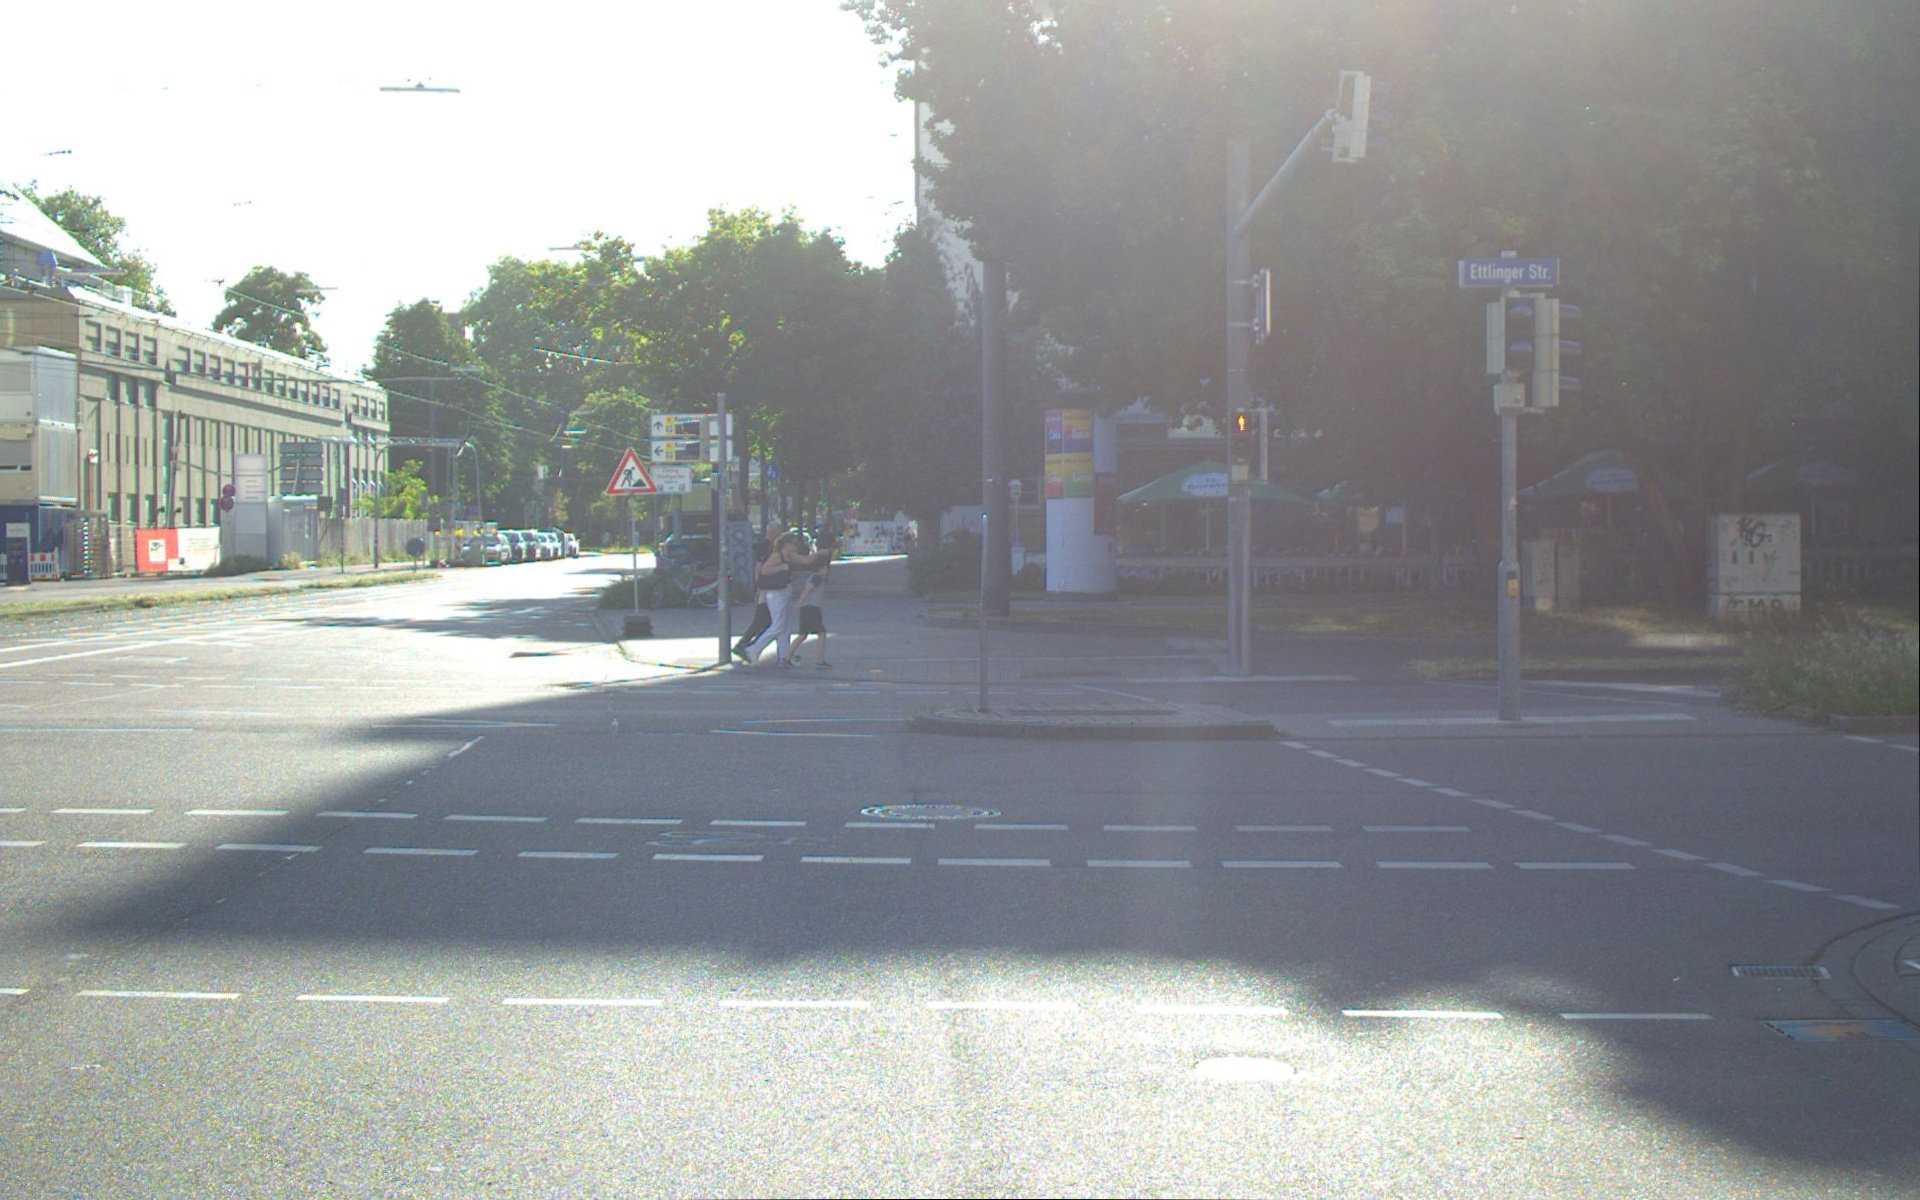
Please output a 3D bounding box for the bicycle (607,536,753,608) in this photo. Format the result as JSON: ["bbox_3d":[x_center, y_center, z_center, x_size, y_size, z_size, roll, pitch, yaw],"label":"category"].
[{"bbox_3d":[-5.464,-0.549,67.139,2.748,1.363,0.630,1,0,11],"label":"bicycle"}]

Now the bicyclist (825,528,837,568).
[{"bbox_3d":[-3.685,-1.491,98.275,0.318,1.123,0.291,-1,1,-1],"label":"bicyclist"}]

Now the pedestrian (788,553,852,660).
[{"bbox_3d":[-1.765,0.076,43.318,0.752,1.328,0.742,0,1,1],"label":"pedestrian"}]

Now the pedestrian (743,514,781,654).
[{"bbox_3d":[-2.565,-0.208,44.603,0.361,1.798,0.506,0,1,11],"label":"pedestrian"}]

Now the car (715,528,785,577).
[{"bbox_3d":[-5.636,-1.294,92.584,1.819,1.274,4.001,0,1,-3],"label":"car"}]

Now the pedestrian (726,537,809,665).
[{"bbox_3d":[-2.422,0.010,43.346,0.984,1.582,0.660,0,0,1],"label":"pedestrian"}]

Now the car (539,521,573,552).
[{"bbox_3d":[-22.822,-3.581,194.386,1.483,1.744,4.000,-1,1,-1],"label":"car"}]

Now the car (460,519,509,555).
[{"bbox_3d":[-22.136,-2.938,160.107,1.731,1.647,4.000,0,1,-1],"label":"car"}]

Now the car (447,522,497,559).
[{"bbox_3d":[-22.135,-2.715,156.043,1.731,1.647,4.000,0,1,-1],"label":"car"}]

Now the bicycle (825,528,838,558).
[{"bbox_3d":[-3.670,-1.632,98.475,0.324,0.865,1.483,-1,1,-1],"label":"bicycle"}]

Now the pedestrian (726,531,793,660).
[{"bbox_3d":[-2.553,-0.063,43.835,0.795,1.634,0.533,0,1,2],"label":"pedestrian"}]
